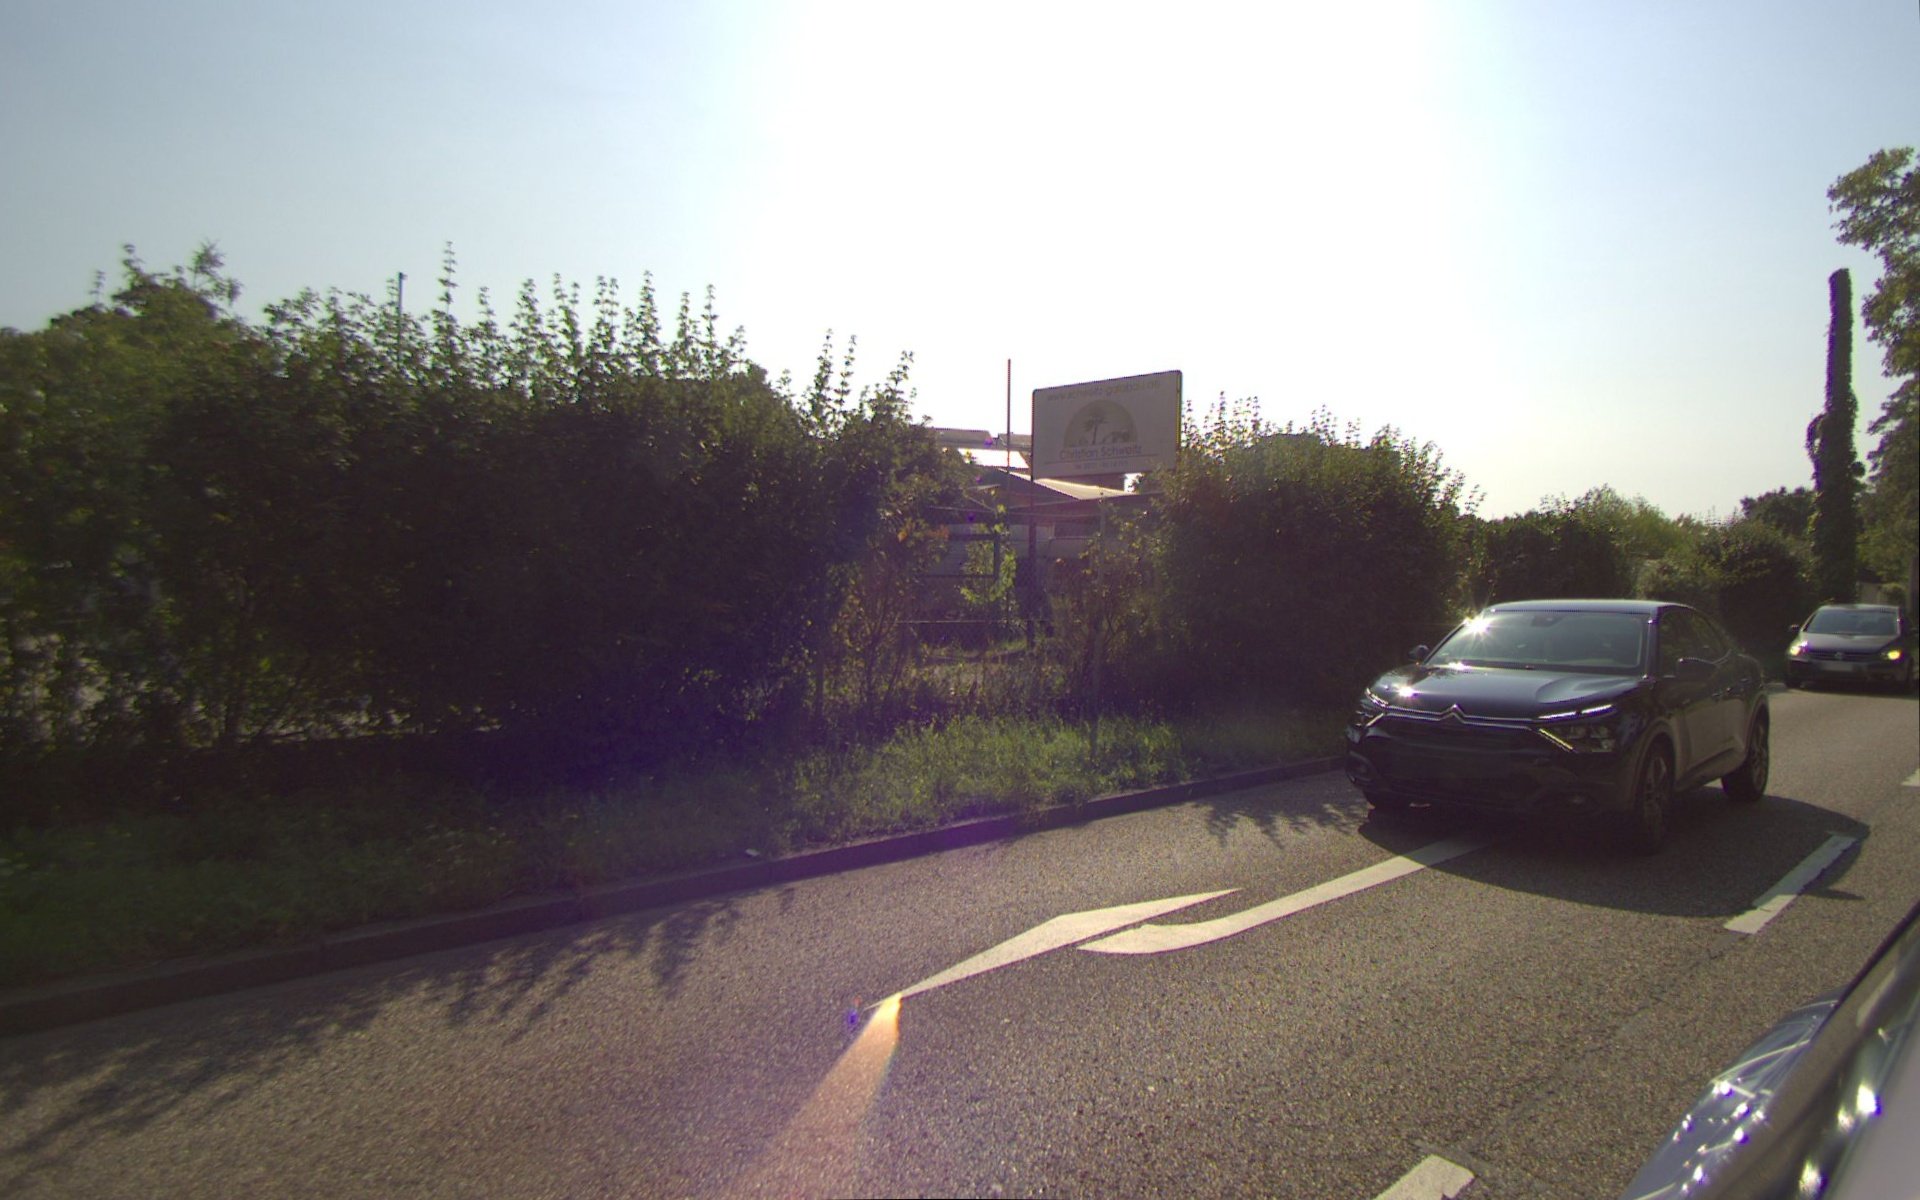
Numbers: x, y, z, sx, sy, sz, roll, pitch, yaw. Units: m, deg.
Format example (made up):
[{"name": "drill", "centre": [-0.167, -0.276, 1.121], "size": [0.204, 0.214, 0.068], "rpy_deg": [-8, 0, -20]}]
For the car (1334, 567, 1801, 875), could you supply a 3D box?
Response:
[{"name": "car", "centre": [4.577, 0.618, 7.351], "size": [4.180, 1.608, 1.648], "rpy_deg": [0, 2, -41]}]

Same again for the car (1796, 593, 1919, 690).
[{"name": "car", "centre": [17.175, 0.696, 18.994], "size": [3.830, 1.576, 1.648], "rpy_deg": [0, 2, -41]}]

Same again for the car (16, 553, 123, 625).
[{"name": "car", "centre": [-21.580, -0.282, 24.479], "size": [1.723, 1.597, 3.666], "rpy_deg": [0, 1, -45]}]

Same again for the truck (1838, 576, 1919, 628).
[{"name": "truck", "centre": [43.384, 0.074, 47.678], "size": [6.788, 2.261, 1.919], "rpy_deg": [0, 1, -39]}]
